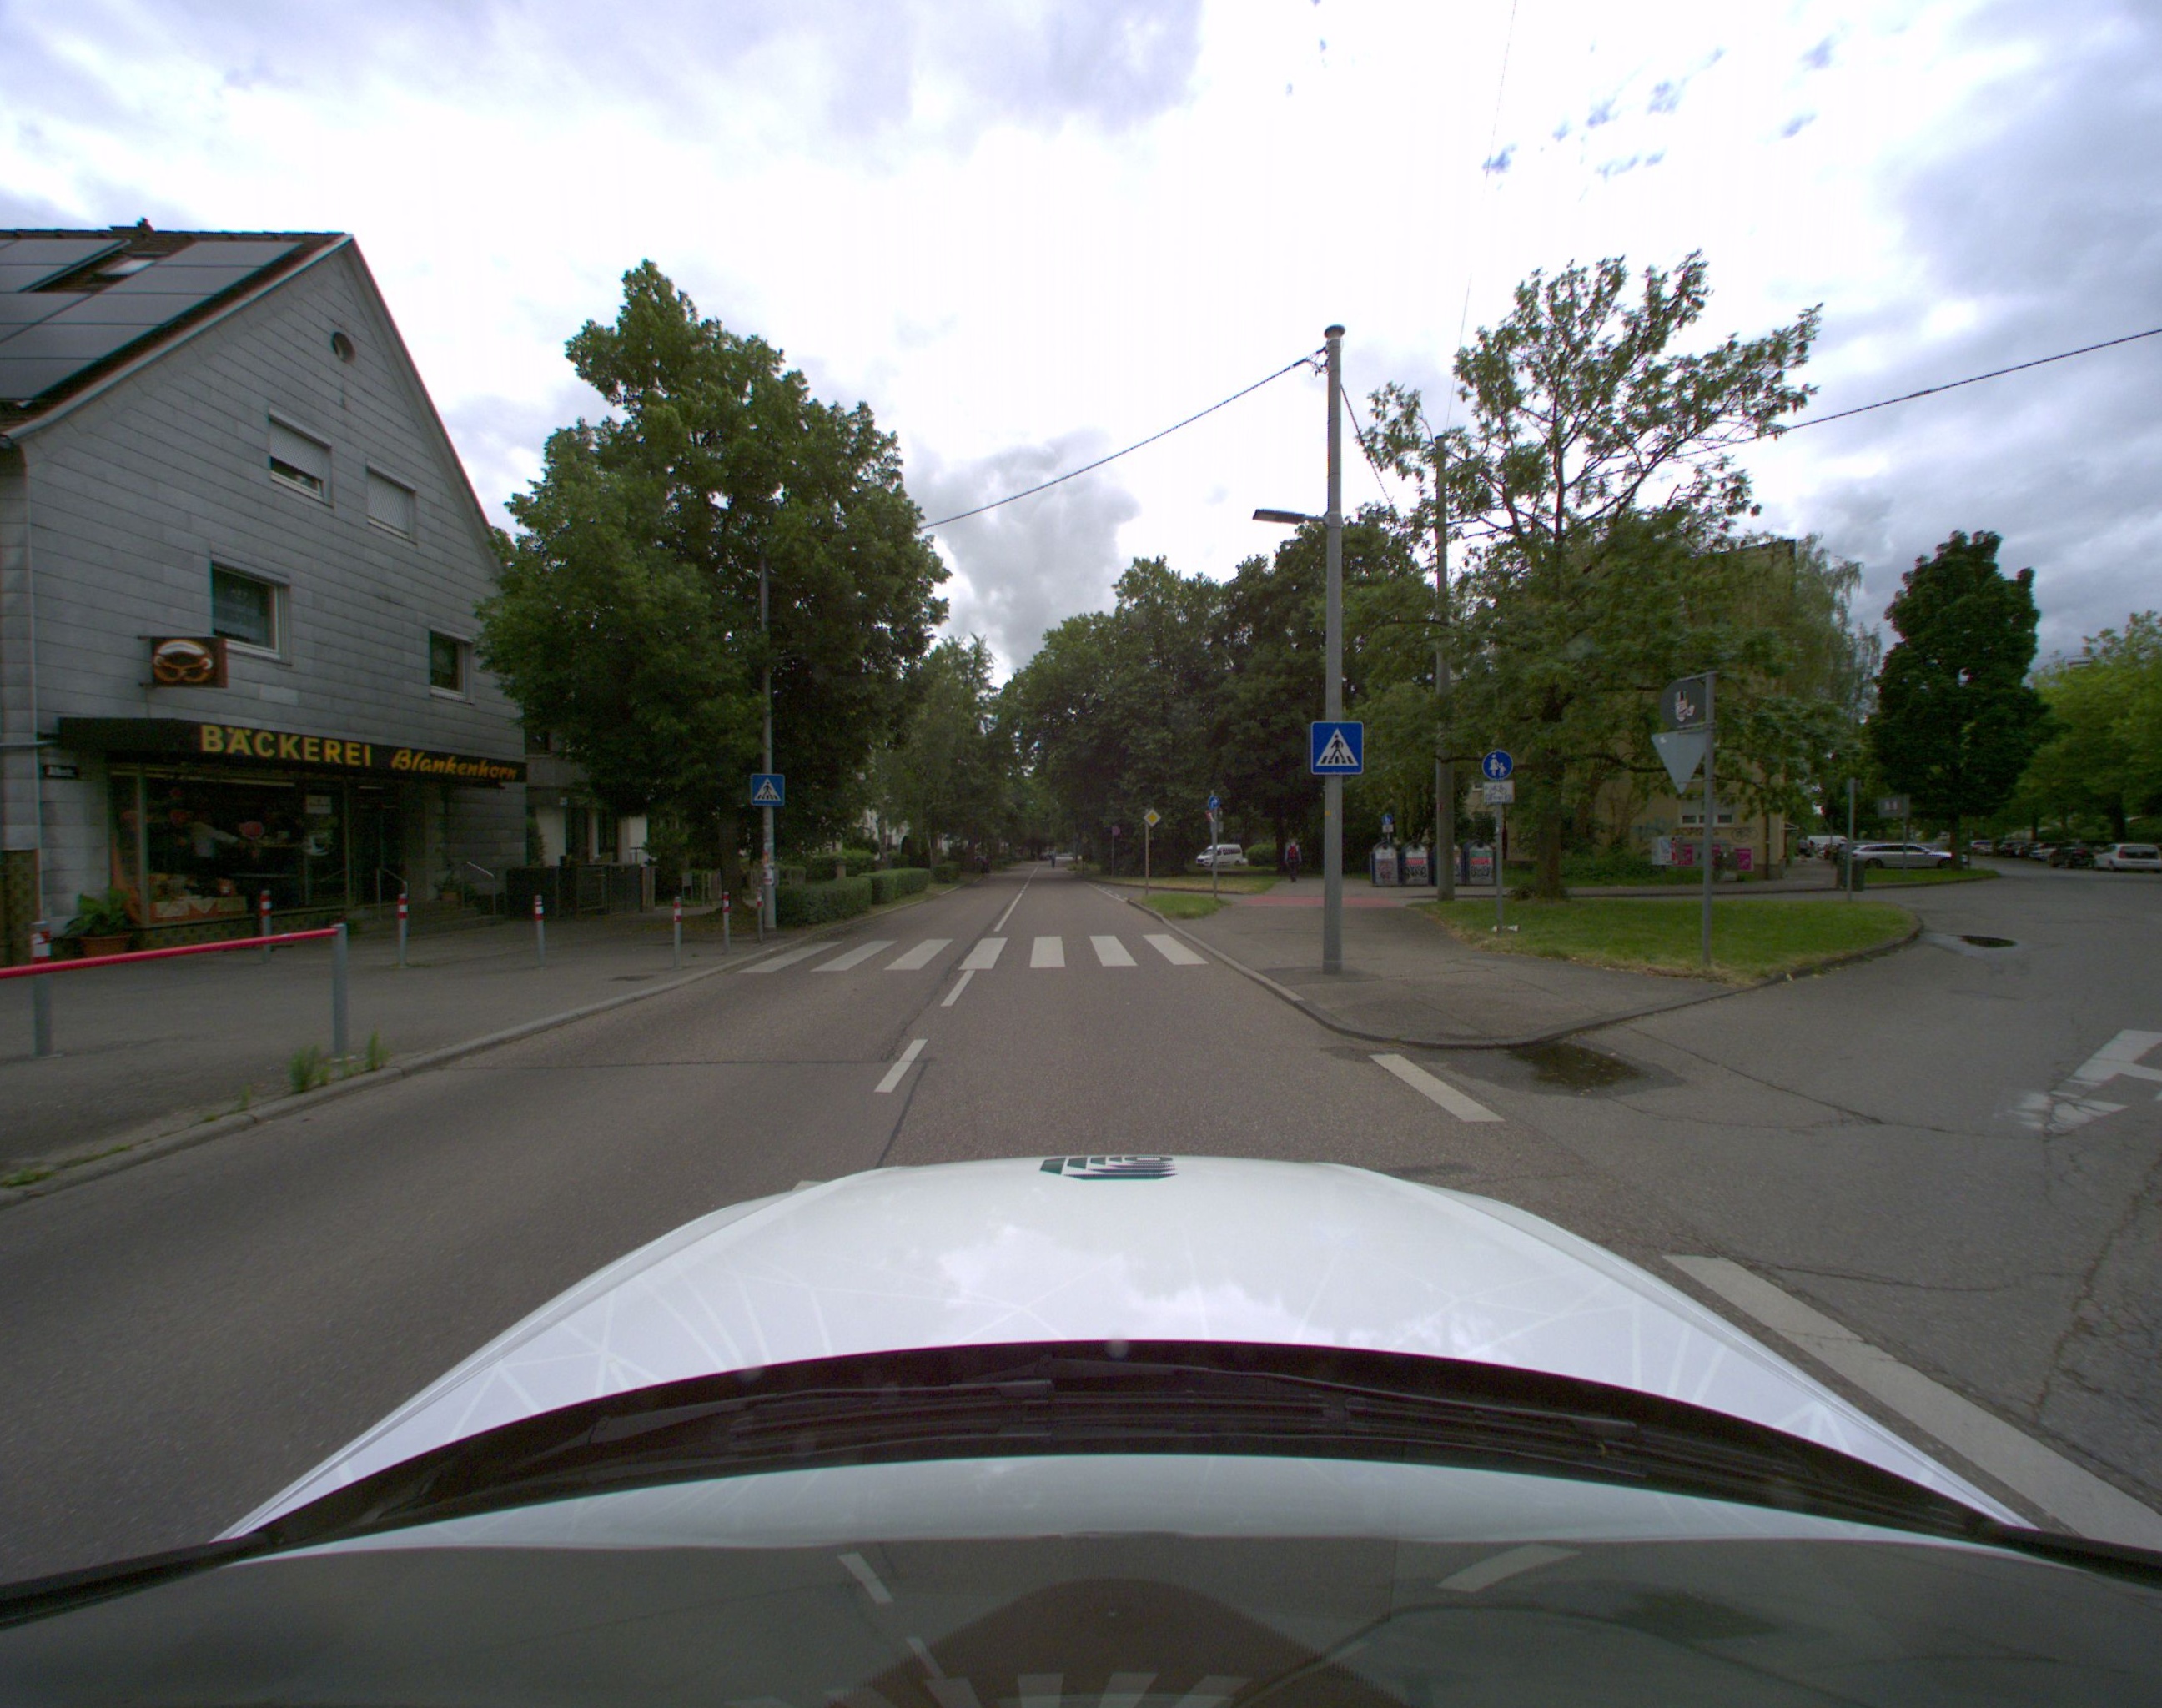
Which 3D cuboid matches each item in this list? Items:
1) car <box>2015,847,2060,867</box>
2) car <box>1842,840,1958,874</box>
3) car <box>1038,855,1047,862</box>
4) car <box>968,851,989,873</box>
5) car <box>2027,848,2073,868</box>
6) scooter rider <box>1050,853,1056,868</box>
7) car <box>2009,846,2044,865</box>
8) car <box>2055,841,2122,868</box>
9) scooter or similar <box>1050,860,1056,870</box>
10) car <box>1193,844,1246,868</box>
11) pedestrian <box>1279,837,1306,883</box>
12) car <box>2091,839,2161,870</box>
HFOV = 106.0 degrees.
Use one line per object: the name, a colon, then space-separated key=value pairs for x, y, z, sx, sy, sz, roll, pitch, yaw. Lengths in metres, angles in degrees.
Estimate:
car: x=77.253 y=0.220 z=65.844 sx=1.976 sy=1.483 sz=4.023 roll=4 pitch=2 yaw=45
car: x=43.346 y=0.184 z=43.246 sx=4.154 sy=1.577 sz=1.828 roll=-3 pitch=-3 yaw=41
car: x=-8.391 y=0.959 z=178.508 sx=1.830 sy=1.498 sz=3.653 roll=2 pitch=2 yaw=-3
car: x=-8.844 y=0.681 z=70.508 sx=1.641 sy=1.724 sz=3.792 roll=2 pitch=1 yaw=-6
car: x=73.535 y=0.317 z=61.875 sx=1.846 sy=1.381 sz=4.023 roll=4 pitch=2 yaw=45
scooter rider: x=-2.993 y=0.736 z=87.184 sx=0.599 sy=1.552 sz=0.566 roll=-1 pitch=1 yaw=0
car: x=83.135 y=0.140 z=71.659 sx=1.649 sy=1.633 sz=3.872 roll=4 pitch=2 yaw=45
car: x=58.529 y=0.038 z=47.374 sx=1.766 sy=1.448 sz=4.113 roll=4 pitch=2 yaw=42
scooter or similar: x=-2.981 y=1.182 z=87.039 sx=0.599 sy=1.054 sz=0.873 roll=-1 pitch=1 yaw=0
car: x=14.036 y=0.211 z=82.548 sx=5.410 sy=2.297 sz=2.114 roll=1 pitch=2 yaw=-38
pedestrian: x=9.083 y=0.261 z=35.000 sx=0.918 sy=1.871 sz=1.022 roll=-4 pitch=2 yaw=10
car: x=54.460 y=0.021 z=42.187 sx=1.766 sy=1.486 sz=3.658 roll=3 pitch=2 yaw=37
